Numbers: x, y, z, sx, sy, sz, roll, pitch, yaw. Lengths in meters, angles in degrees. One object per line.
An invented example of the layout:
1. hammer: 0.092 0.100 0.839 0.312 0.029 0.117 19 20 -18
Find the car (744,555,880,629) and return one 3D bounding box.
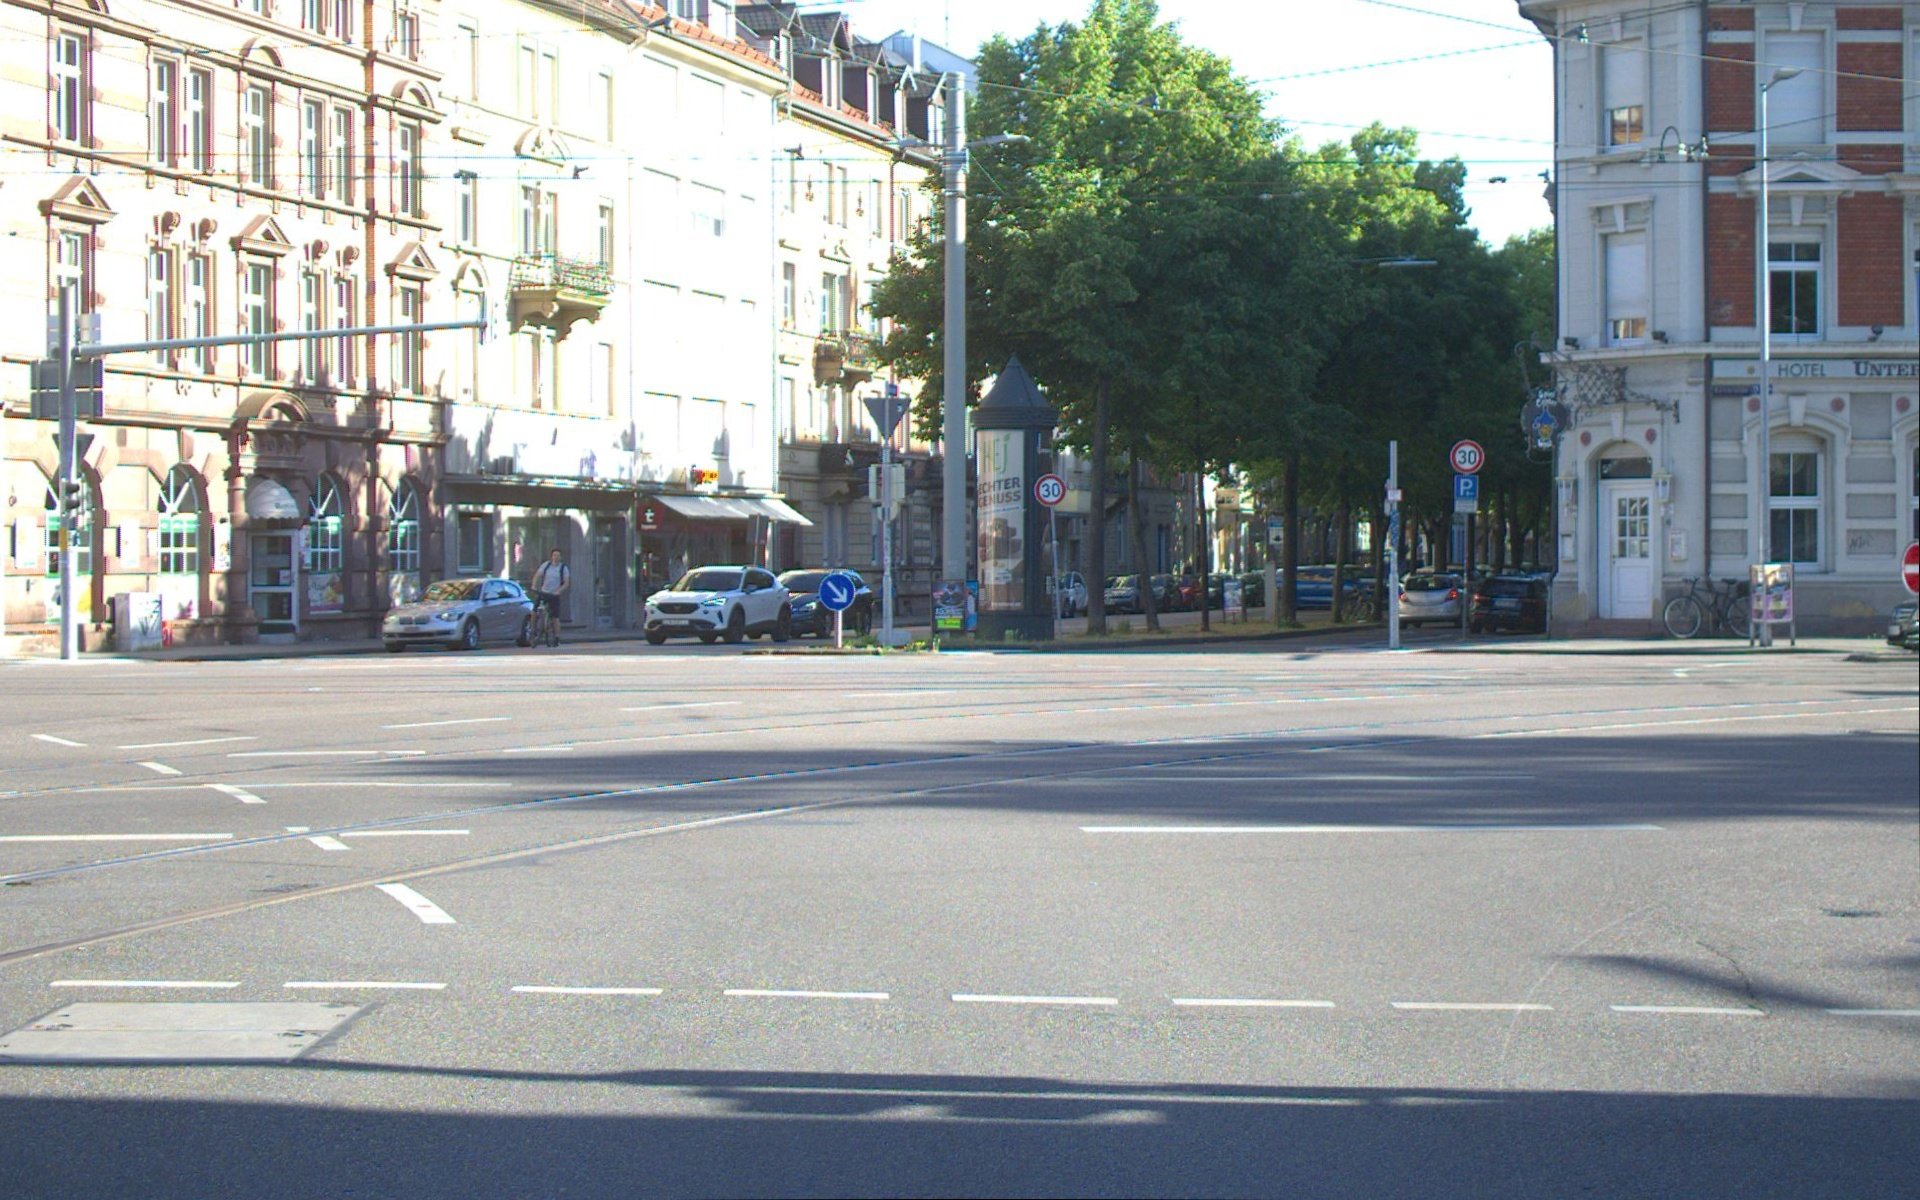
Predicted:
1. car: -3.129 -0.186 73.534 1.994 1.508 3.998 0 1 12

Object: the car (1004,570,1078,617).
1. car: 2.598 -0.211 110.002 1.741 1.393 4.122 3 1 9

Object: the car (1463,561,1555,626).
1. car: 13.168 -0.150 82.286 1.652 1.519 3.750 0 0 17

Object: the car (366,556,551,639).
1. car: -9.778 -0.068 67.381 2.098 1.540 4.361 0 1 14

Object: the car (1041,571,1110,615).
1. car: 3.923 -0.250 115.806 1.741 1.393 4.122 3 1 9

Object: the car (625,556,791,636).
1. car: -4.879 -0.100 67.167 2.098 1.494 3.998 0 1 14

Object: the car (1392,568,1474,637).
1. car: 12.558 0.056 91.171 1.675 1.750 3.756 0 1 15

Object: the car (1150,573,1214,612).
1. car: 8.511 -0.306 131.608 1.742 1.393 4.121 3 1 13

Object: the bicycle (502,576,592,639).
1. bicycle: -7.867 0.130 65.630 0.751 1.131 2.808 0 1 14

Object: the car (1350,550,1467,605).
1. car: 17.411 -0.869 133.424 4.115 1.912 1.744 3 1 21

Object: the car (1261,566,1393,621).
1. car: 12.293 -0.219 115.226 4.113 1.640 1.745 3 1 15

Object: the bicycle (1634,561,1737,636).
1. bicycle: 12.061 -0.028 57.134 1.639 1.218 0.606 0 1 16

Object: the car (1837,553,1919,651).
1. car: 14.840 0.007 48.292 4.509 1.336 2.000 0 1 -2

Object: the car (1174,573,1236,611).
1. car: 9.729 -0.341 136.386 1.742 1.393 4.121 3 1 13

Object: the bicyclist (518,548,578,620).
1. bicyclist: -7.854 -0.311 65.592 0.794 1.370 1.107 0 1 14

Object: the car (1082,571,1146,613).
1. car: 5.510 -0.297 122.784 1.741 1.393 4.122 3 1 9
